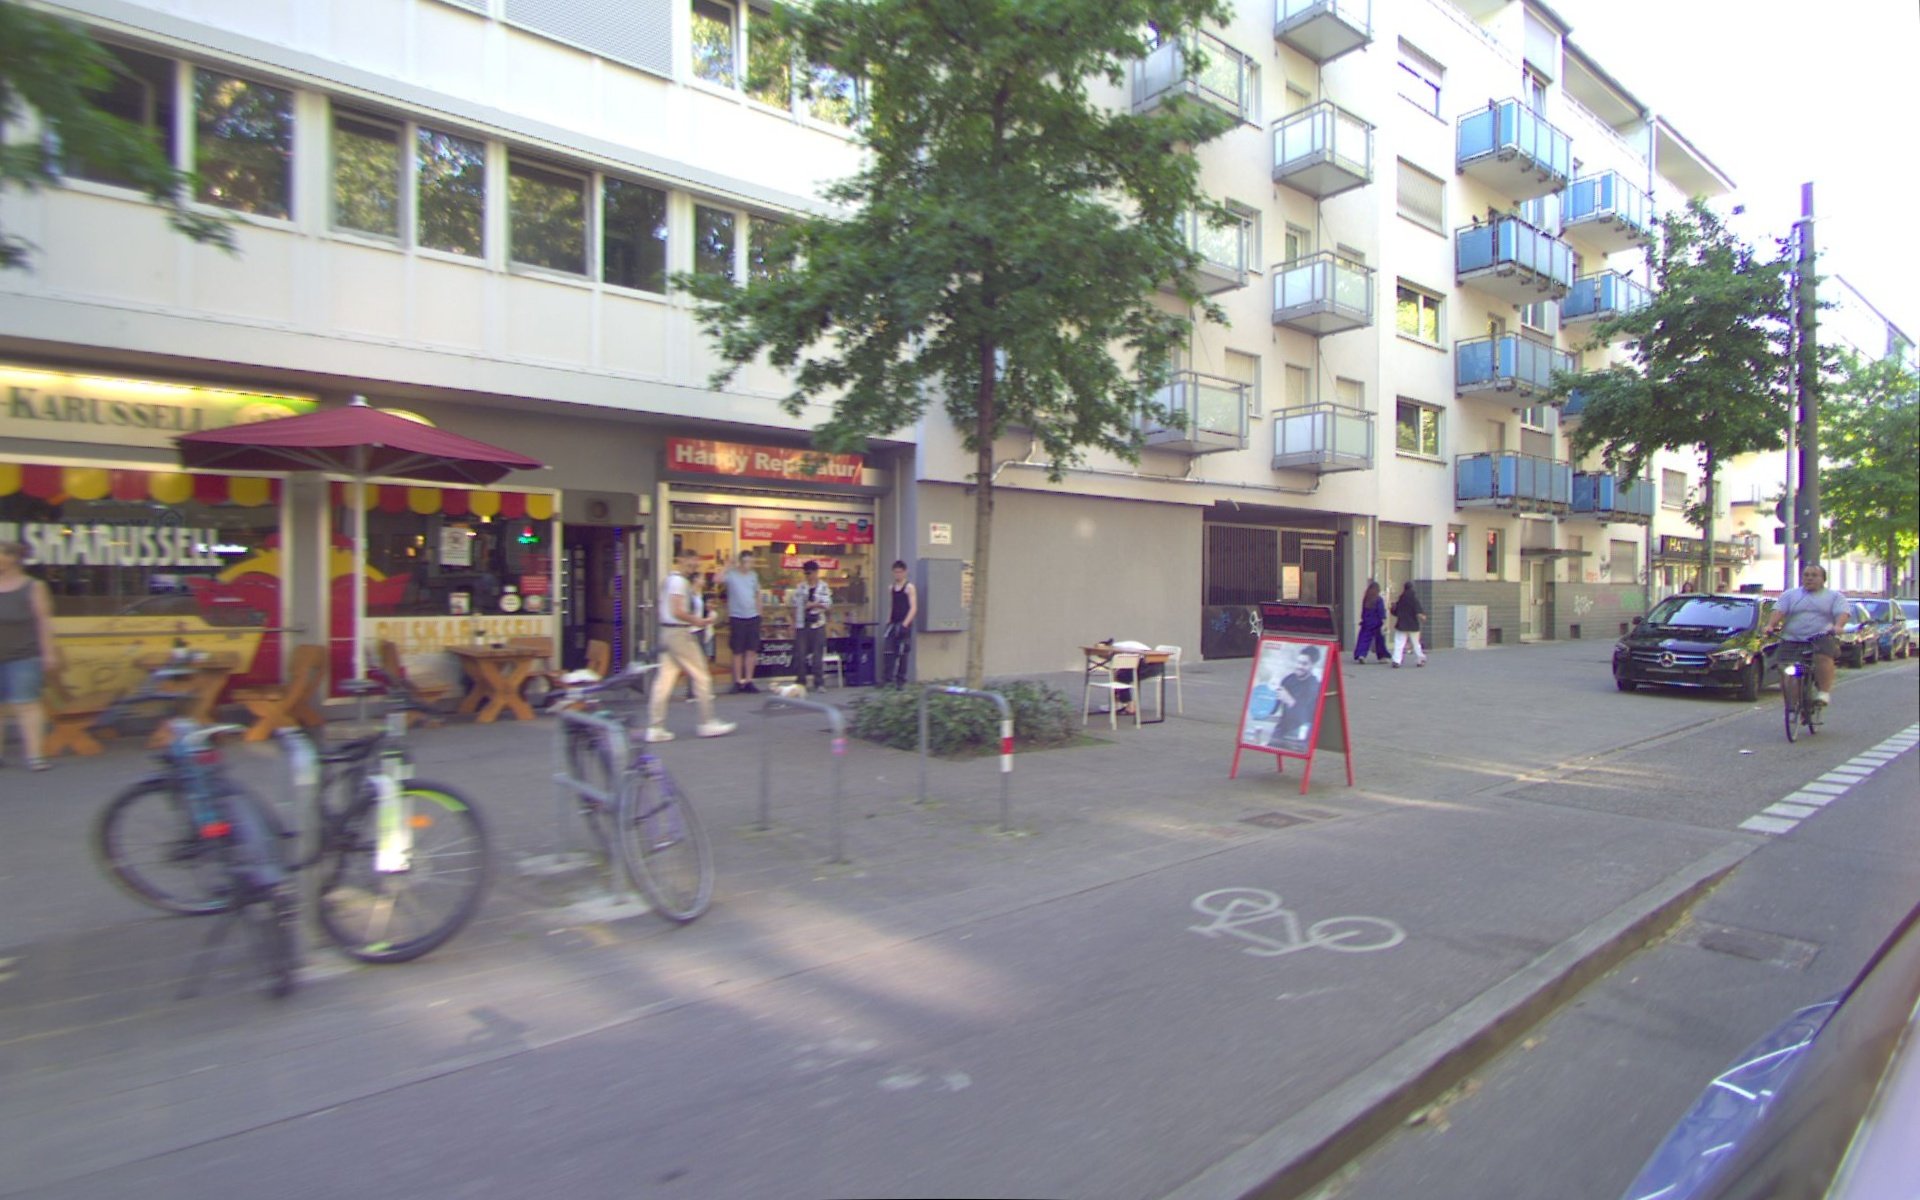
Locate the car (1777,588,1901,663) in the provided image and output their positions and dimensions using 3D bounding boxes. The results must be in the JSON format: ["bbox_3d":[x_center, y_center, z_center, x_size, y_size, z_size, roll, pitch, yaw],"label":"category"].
[{"bbox_3d":[20.180,0.520,23.182,3.822,1.500,1.625,0,3,-42],"label":"car"}]

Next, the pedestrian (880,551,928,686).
[{"bbox_3d":[-0.770,0.249,13.976,0.480,1.819,0.432,-1,-1,-40],"label":"pedestrian"}]

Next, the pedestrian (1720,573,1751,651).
[{"bbox_3d":[18.997,0.294,24.803,0.652,1.875,0.476,0,0,-42],"label":"pedestrian"}]

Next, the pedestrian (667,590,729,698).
[{"bbox_3d":[-3.249,0.531,12.565,0.501,1.292,0.623,-1,0,14],"label":"pedestrian"}]

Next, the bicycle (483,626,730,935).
[{"bbox_3d":[-1.728,0.717,4.759,0.516,1.114,1.819,-1,1,-39],"label":"bicycle"}]

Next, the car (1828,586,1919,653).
[{"bbox_3d":[23.299,0.451,25.676,2.829,1.556,1.448,0,2,-39],"label":"car"}]

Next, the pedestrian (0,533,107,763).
[{"bbox_3d":[-7.263,0.355,7.813,0.666,1.680,0.814,-1,0,1],"label":"pedestrian"}]

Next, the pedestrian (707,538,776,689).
[{"bbox_3d":[-2.955,0.173,13.663,0.776,1.979,0.508,-1,-1,-29],"label":"pedestrian"}]

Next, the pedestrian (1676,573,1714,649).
[{"bbox_3d":[18.419,0.275,25.359,0.530,1.875,0.663,0,0,-40],"label":"pedestrian"}]

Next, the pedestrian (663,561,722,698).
[{"bbox_3d":[-3.286,0.357,12.460,0.500,1.649,0.516,-1,0,14],"label":"pedestrian"}]

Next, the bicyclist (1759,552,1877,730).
[{"bbox_3d":[9.480,0.424,11.180,1.079,1.854,0.769,-1,0,-38],"label":"bicyclist"}]

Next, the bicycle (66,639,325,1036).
[{"bbox_3d":[-2.915,0.727,3.782,1.815,1.114,0.490,-1,0,44],"label":"bicycle"}]

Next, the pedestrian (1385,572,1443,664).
[{"bbox_3d":[8.539,0.320,19.035,0.854,1.658,0.643,0,2,-41],"label":"pedestrian"}]

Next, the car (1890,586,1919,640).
[{"bbox_3d":[30.776,0.392,31.944,4.188,1.590,1.722,-1,3,-43],"label":"car"}]

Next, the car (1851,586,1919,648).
[{"bbox_3d":[26.383,0.448,28.098,4.054,1.556,1.791,0,3,-39],"label":"car"}]

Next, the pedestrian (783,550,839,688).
[{"bbox_3d":[-2.014,0.255,13.718,0.620,1.828,0.526,-1,0,5],"label":"pedestrian"}]

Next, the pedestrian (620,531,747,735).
[{"bbox_3d":[-2.603,0.289,9.543,0.978,1.807,0.591,-1,-1,-40],"label":"pedestrian"}]

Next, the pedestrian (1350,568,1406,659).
[{"bbox_3d":[8.100,0.236,19.606,0.918,1.698,0.597,-1,3,-41],"label":"pedestrian"}]

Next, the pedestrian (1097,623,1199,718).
[{"bbox_3d":[2.186,0.801,11.849,0.981,1.040,0.662,-1,0,-10],"label":"pedestrian"}]

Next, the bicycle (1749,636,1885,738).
[{"bbox_3d":[9.474,0.912,11.165,1.904,0.949,0.790,-1,0,-39],"label":"bicycle"}]

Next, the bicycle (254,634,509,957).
[{"bbox_3d":[-2.592,0.727,4.433,1.815,1.114,0.474,-1,0,44],"label":"bicycle"}]

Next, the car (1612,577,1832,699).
[{"bbox_3d":[12.129,0.483,16.019,4.252,1.607,1.763,-1,4,-39],"label":"car"}]
